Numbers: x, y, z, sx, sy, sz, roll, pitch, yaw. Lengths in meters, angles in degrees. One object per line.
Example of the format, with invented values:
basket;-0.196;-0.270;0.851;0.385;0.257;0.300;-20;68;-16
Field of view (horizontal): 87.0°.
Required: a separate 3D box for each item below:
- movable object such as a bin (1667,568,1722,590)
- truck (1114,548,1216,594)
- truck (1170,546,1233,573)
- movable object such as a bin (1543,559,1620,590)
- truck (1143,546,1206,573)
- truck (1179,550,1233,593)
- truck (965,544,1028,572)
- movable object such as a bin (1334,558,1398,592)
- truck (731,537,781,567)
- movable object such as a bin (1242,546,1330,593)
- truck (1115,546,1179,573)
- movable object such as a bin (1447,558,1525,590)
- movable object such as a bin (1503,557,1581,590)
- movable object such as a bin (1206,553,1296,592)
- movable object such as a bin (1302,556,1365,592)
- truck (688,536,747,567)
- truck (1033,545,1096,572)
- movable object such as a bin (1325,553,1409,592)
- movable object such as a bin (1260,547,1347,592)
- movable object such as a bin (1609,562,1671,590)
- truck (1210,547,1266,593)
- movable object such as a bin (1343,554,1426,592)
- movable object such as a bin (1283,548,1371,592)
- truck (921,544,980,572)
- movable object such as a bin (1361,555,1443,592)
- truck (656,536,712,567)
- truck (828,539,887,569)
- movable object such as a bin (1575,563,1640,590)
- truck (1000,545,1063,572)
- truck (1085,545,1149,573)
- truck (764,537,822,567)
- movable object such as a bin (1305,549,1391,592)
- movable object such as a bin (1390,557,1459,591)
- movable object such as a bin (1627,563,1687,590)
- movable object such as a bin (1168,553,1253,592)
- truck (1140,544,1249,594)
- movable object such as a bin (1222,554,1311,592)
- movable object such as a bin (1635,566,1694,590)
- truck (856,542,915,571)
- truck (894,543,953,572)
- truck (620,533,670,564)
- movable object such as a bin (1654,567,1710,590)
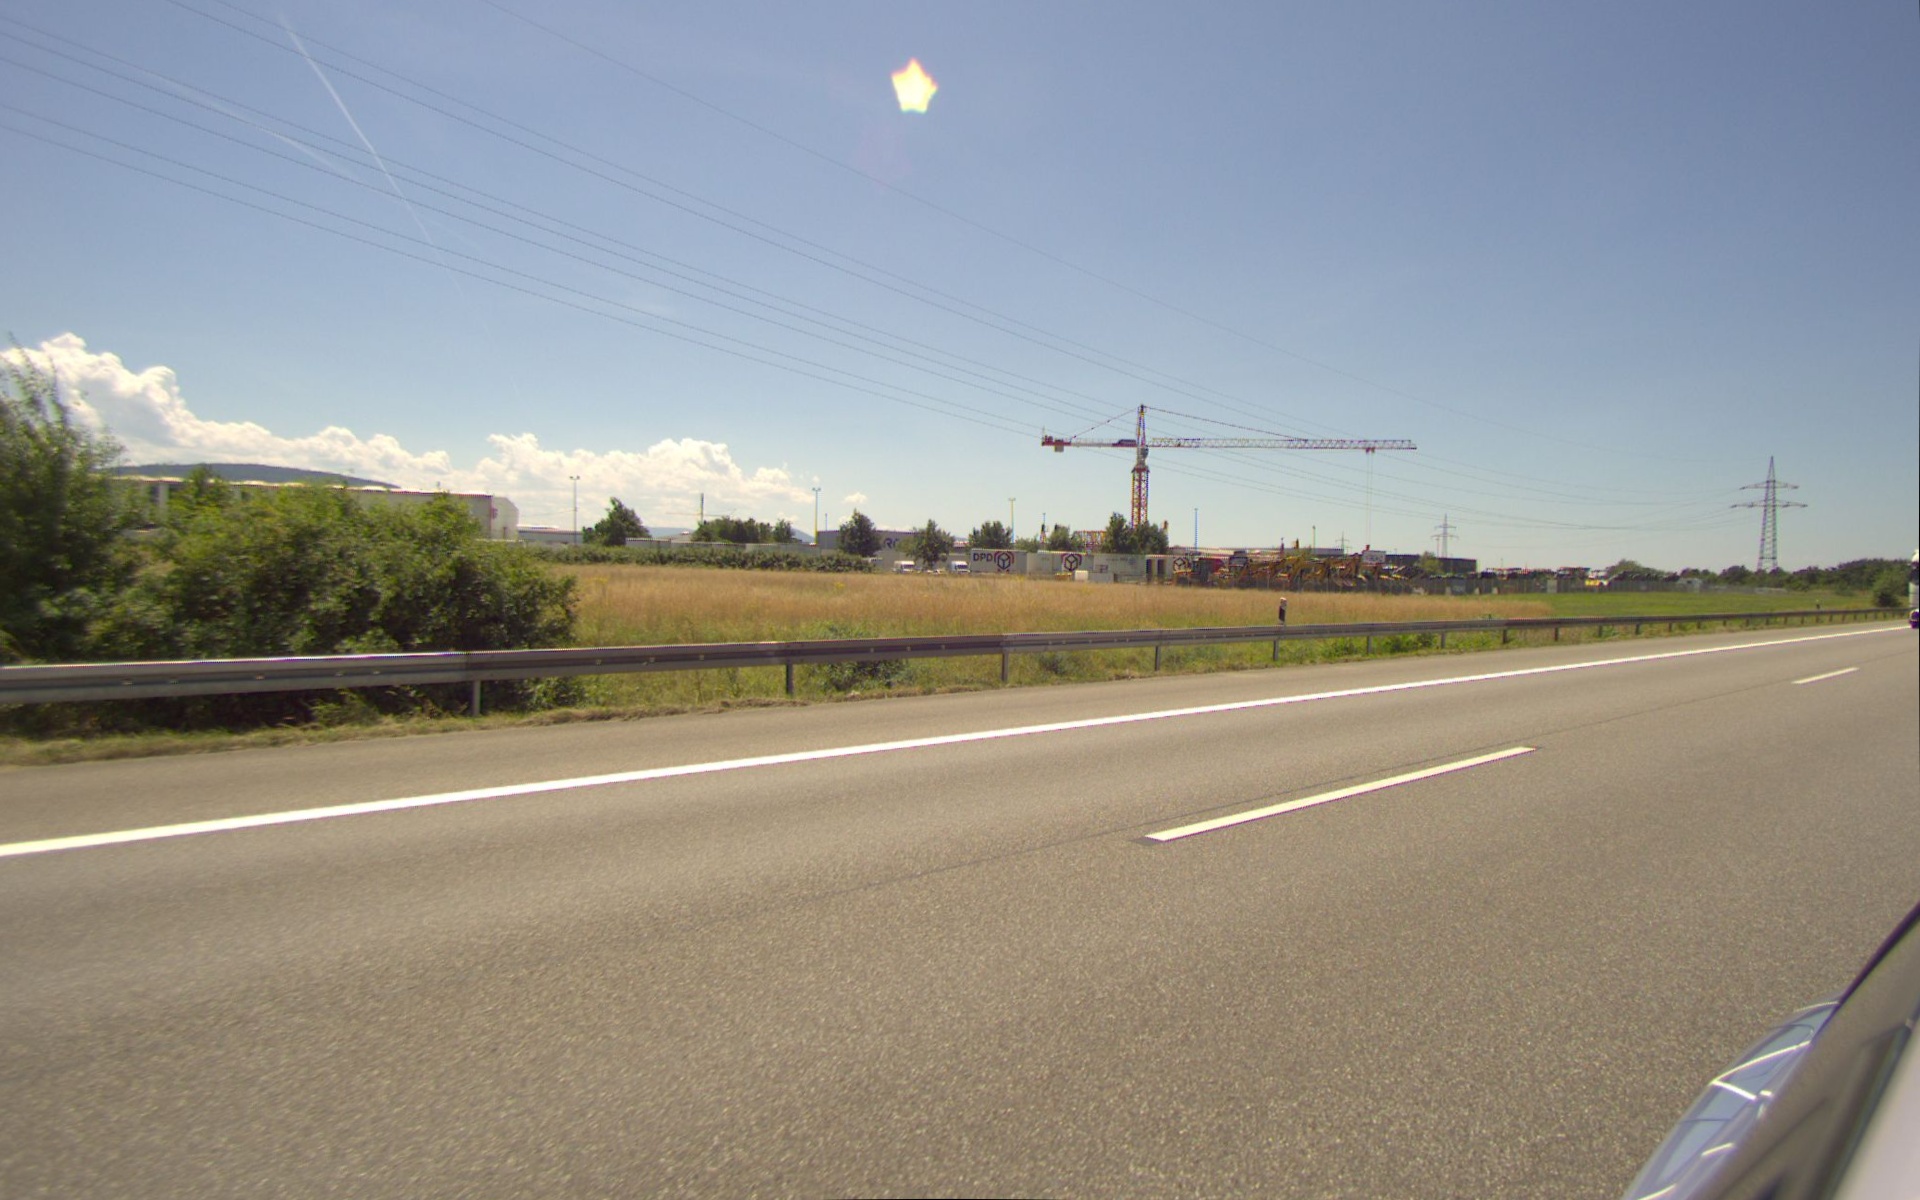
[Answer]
movable object such as a bin;139.580;-4.008;192.442;2.829;3.988;8.113;0;0;-38
truck;22.769;-3.131;111.643;13.881;4.832;3.050;-1;0;-40
truck;33.896;-5.708;142.153;8.136;3.454;2.797;3;3;39
movable object such as a bin;94.712;-3.825;154.419;3.374;4.569;9.378;0;0;-38
truck;29.779;-5.672;140.670;8.146;3.454;2.793;4;3;43
truck;28.260;-3.192;116.170;5.876;4.833;3.050;0;0;-39
truck;4.757;-5.461;132.394;8.121;3.454;2.497;3;2;35
movable object such as a bin;60.093;-3.676;149.995;3.073;4.803;9.624;0;0;-21
truck;-24.745;-5.853;122.220;2.776;3.453;8.175;0;3;-35
movable object such as a bin;32.182;-2.934;100.242;2.829;4.351;8.113;0;0;-38
truck;25.658;-5.637;139.154;8.121;3.454;2.802;3;2;35
movable object such as a bin;70.275;-3.365;135.494;3.364;4.103;9.404;0;0;-22
movable object such as a bin;84.702;-3.724;147.449;3.374;4.569;9.378;0;0;-38
movable object such as a bin;27.390;-2.530;95.703;2.829;3.507;8.113;0;0;-38
movable object such as a bin;52.485;-3.596;142.438;3.225;4.865;8.506;0;0;-25
truck;-29.079;-5.818;121.007;8.146;3.454;2.786;4;3;43
truck;13.930;-5.538;135.309;8.121;3.454;2.802;3;2;35
movable object such as a bin;44.410;-2.936;110.665;3.080;4.001;8.113;0;0;-38
movable object such as a bin;34.745;-3.009;102.537;2.829;4.351;8.113;0;0;-38
movable object such as a bin;113.534;-3.974;169.017;2.829;4.429;8.113;0;0;-38
truck;30.130;-3.171;109.681;5.876;4.833;3.050;0;0;-39
movable object such as a bin;47.294;-2.968;113.021;3.080;4.001;8.113;0;0;-38
movable object such as a bin;38.261;-3.049;105.824;3.290;4.351;8.113;0;0;-38
truck;-1.321;-5.476;131.190;8.152;3.454;2.713;4;3;45
movable object such as a bin;50.329;-3.000;115.425;3.080;4.001;8.113;0;0;-38
truck;-32.677;-5.787;119.620;2.783;3.454;8.155;0;3;-44
truck;-12.721;-5.692;125.172;8.152;3.454;2.713;4;3;45
movable object such as a bin;101.848;-3.637;159.281;2.829;3.955;8.113;0;0;-38
truck;9.468;-5.501;133.901;8.121;3.454;2.604;3;2;35
truck;21.360;-5.602;137.970;8.121;3.454;2.802;3;2;35
truck;-20.501;-5.890;123.775;8.152;3.454;2.713;4;3;45
movable object such as a bin;41.384;-3.082;108.168;3.239;4.351;8.113;0;0;-38
movable object such as a bin;59.160;-3.221;129.316;3.366;4.103;9.401;0;0;-9
movable object such as a bin;120.286;-4.049;174.800;2.829;4.429;8.113;0;0;-38
movable object such as a bin;23.315;-2.496;94.410;2.829;3.507;7.583;0;0;-38
truck;24.512;-3.110;105.024;14.068;4.832;3.050;-1;0;-40
movable object such as a bin;29.653;-2.558;98.180;2.829;3.507;8.113;0;0;-38
movable object such as a bin;123.205;-3.819;177.093;2.829;3.988;8.113;0;0;-38
truck;-9.481;-5.490;127.605;8.152;3.454;2.713;4;3;45
truck;-4.717;-5.432;129.059;8.152;3.454;2.713;4;3;45
truck;-37.011;-6.035;118.757;2.779;3.454;8.167;0;3;-39
movable object such as a bin;134.703;-3.957;188.949;2.829;3.988;8.113;0;0;-38
